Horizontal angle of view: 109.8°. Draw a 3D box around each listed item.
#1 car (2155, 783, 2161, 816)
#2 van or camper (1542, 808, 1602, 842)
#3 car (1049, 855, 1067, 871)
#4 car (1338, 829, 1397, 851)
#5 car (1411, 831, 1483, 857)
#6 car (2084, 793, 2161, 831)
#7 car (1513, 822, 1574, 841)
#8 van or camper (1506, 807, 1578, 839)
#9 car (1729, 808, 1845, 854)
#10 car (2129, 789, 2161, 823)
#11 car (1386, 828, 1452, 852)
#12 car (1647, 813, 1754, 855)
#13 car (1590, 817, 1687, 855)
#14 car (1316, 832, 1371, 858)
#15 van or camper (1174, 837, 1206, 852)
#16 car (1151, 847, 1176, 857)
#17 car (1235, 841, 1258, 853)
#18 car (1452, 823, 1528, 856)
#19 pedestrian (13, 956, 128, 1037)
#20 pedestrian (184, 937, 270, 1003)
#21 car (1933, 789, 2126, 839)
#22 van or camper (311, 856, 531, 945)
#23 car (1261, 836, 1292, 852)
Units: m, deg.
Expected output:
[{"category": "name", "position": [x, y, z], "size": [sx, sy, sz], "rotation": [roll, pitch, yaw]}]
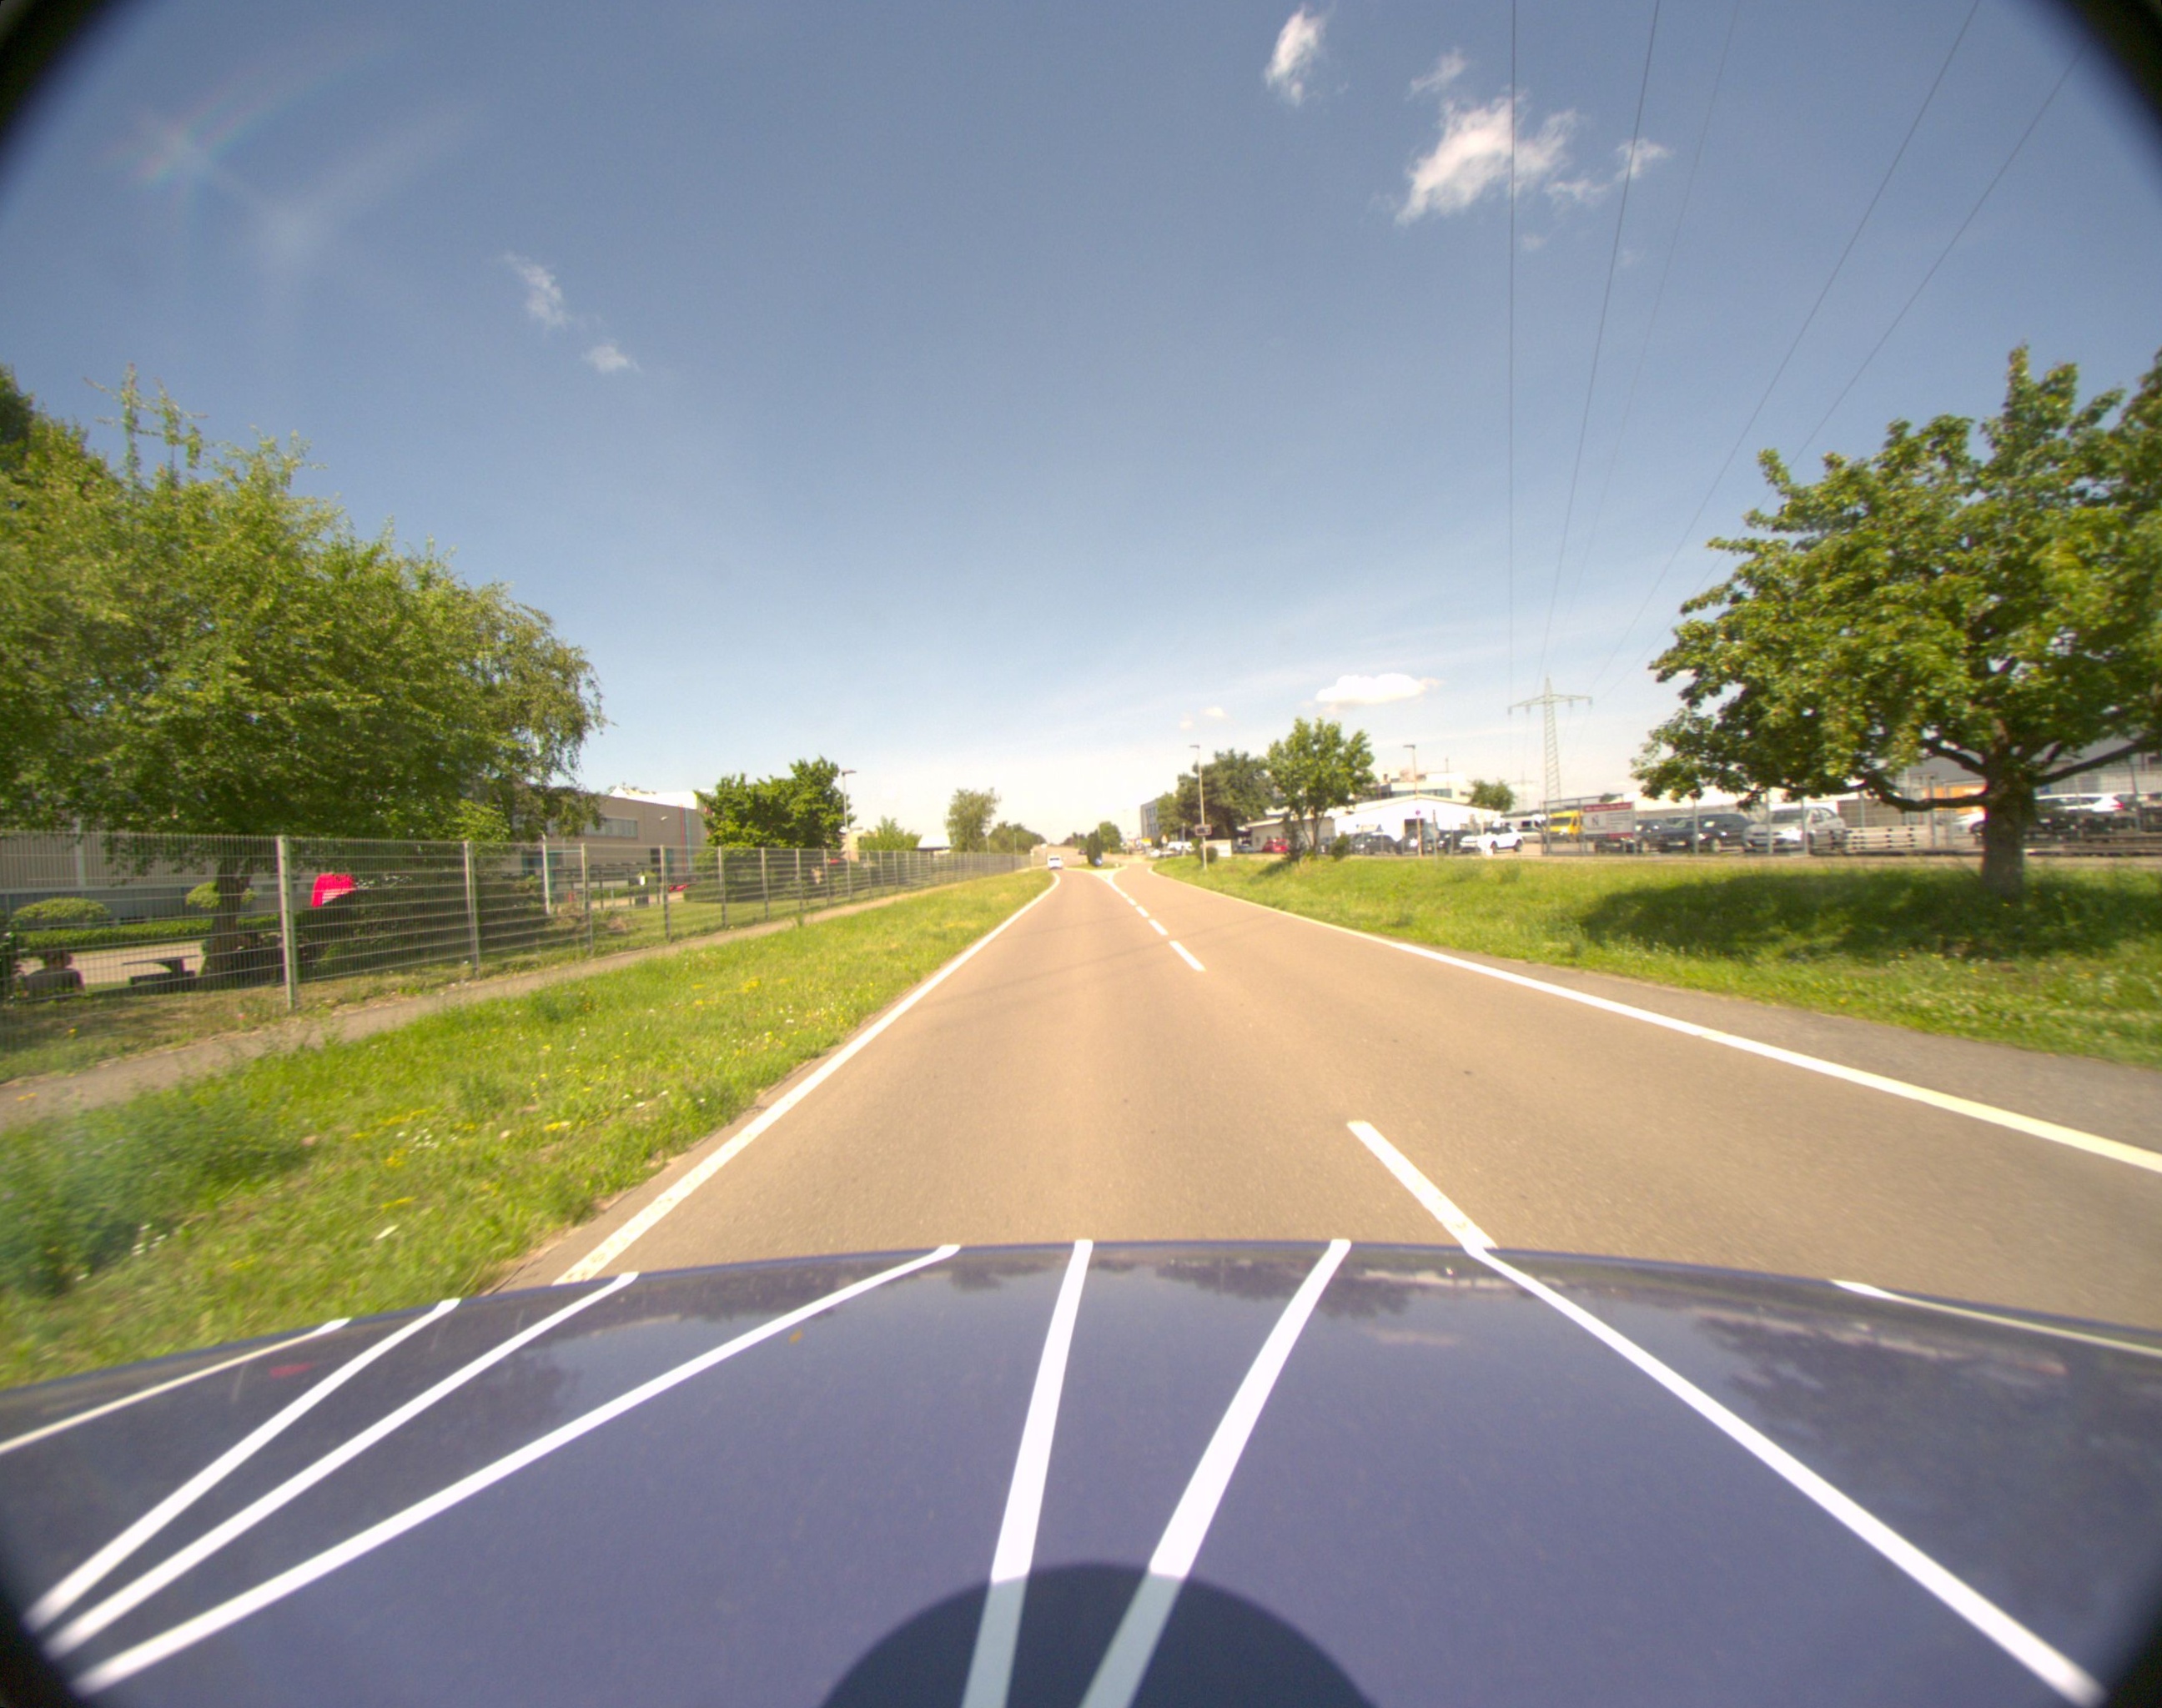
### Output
[{"category": "car", "position": [58.646, -2.994, 39.141], "size": [3.998, 1.684, 1.999], "rotation": [-4, 0, -3]}, {"category": "van or camper", "position": [38.880, -2.317, 60.089], "size": [5.348, 2.361, 1.890], "rotation": [-4, 1, -33]}, {"category": "car", "position": [-3.038, 1.197, 102.928], "size": [1.998, 1.904, 4.000], "rotation": [-3, 1, 4]}, {"category": "car", "position": [20.769, -1.025, 55.047], "size": [4.006, 1.302, 1.938], "rotation": [-4, 1, -33]}, {"category": "car", "position": [21.824, -0.587, 45.269], "size": [4.005, 1.302, 1.938], "rotation": [-4, 1, -31]}, {"category": "car", "position": [41.329, -1.670, 28.710], "size": [1.846, 1.302, 3.991], "rotation": [-4, 0, -33]}, {"category": "car", "position": [39.656, -1.928, 65.225], "size": [3.998, 1.302, 1.999], "rotation": [-4, 0, -2]}, {"category": "van or camper", "position": [42.275, -2.765, 69.933], "size": [1.999, 2.584, 6.767], "rotation": [-4, 0, -4]}, {"category": "car", "position": [24.205, -0.804, 26.017], "size": [4.006, 1.302, 1.938], "rotation": [-4, 0, -33]}, {"category": "car", "position": [44.407, -2.019, 29.662], "size": [1.846, 1.302, 3.991], "rotation": [-4, 0, -33]}, {"category": "car", "position": [21.869, -0.904, 49.104], "size": [4.006, 1.302, 1.938], "rotation": [-4, 0, -33]}, {"category": "car", "position": [23.390, -0.764, 28.667], "size": [4.006, 1.302, 1.938], "rotation": [-4, 1, -33]}, {"category": "car", "position": [23.355, -0.763, 31.808], "size": [4.006, 1.302, 1.938], "rotation": [-4, 0, -33]}, {"category": "car", "position": [20.206, -0.691, 58.407], "size": [4.115, 1.695, 1.719], "rotation": [-4, 1, -33]}, {"category": "van or camper", "position": [20.293, -1.819, 141.425], "size": [5.576, 2.483, 2.081], "rotation": [-3, 1, 23]}, {"category": "car", "position": [14.112, -0.390, 130.427], "size": [3.996, 1.510, 2.000], "rotation": [-3, 1, 2]}, {"category": "car", "position": [21.943, -0.913, 100.961], "size": [1.999, 1.400, 4.515], "rotation": [-4, 0, -1]}, {"category": "car", "position": [22.671, -0.815, 42.070], "size": [4.006, 1.531, 1.938], "rotation": [-4, 1, -33]}, {"category": "pedestrian", "position": [-12.981, 1.815, 9.781], "size": [0.511, 0.888, 0.666], "rotation": [-4, 1, -1]}, {"category": "pedestrian", "position": [-13.234, 1.792, 11.793], "size": [0.667, 0.888, 0.511], "rotation": [-4, 1, -15]}, {"category": "car", "position": [35.217, -1.437, 28.328], "size": [2.003, 1.477, 4.238], "rotation": [-4, 0, -31]}, {"category": "van or camper", "position": [-24.186, 1.647, 28.070], "size": [5.788, 2.504, 1.999], "rotation": [-6, 1, -6]}, {"category": "car", "position": [22.490, -1.101, 87.601], "size": [1.999, 1.734, 4.227], "rotation": [-3, 1, -6]}]
